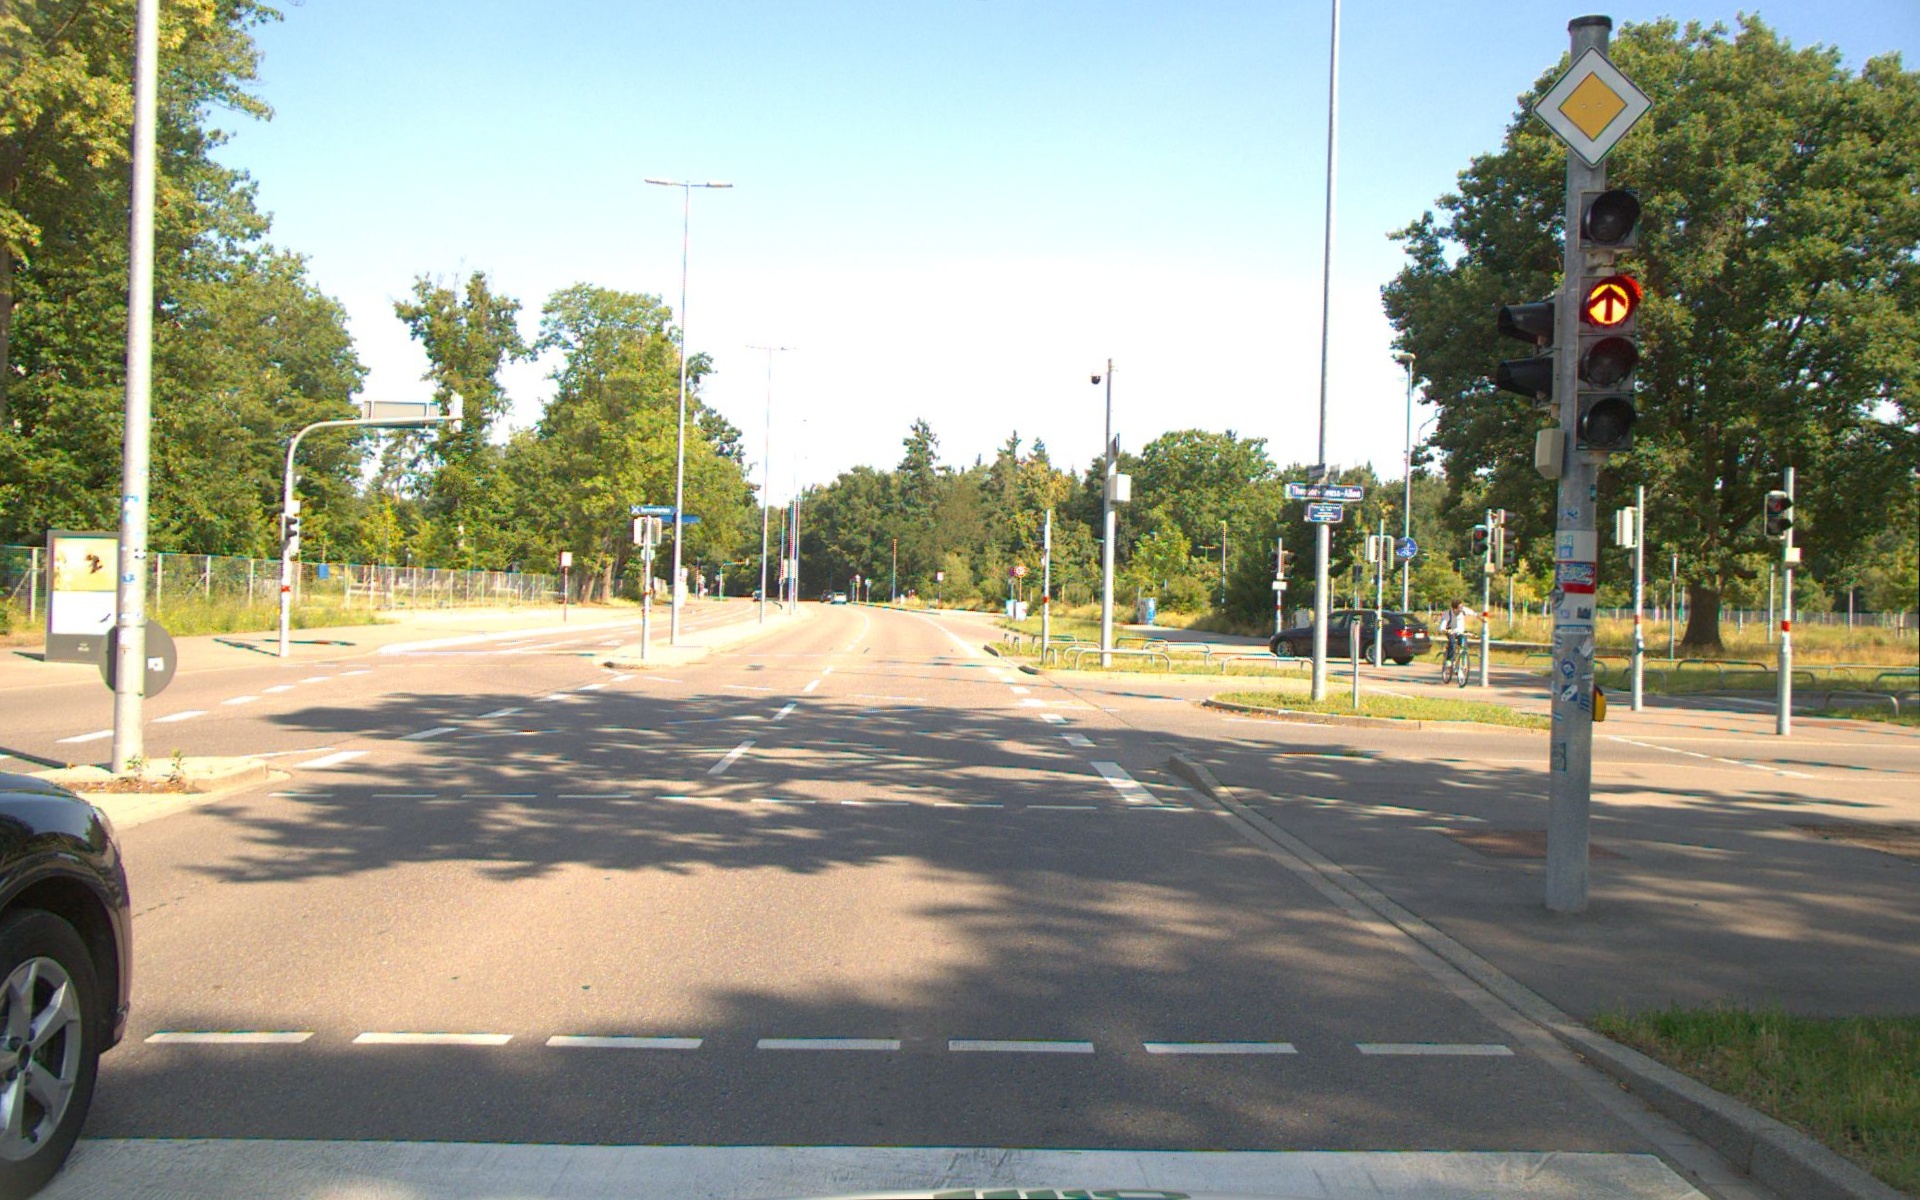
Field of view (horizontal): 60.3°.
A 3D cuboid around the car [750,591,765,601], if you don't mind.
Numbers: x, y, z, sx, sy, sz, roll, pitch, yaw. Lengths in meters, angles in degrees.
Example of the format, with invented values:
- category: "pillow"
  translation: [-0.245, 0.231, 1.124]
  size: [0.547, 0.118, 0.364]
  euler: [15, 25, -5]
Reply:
- category: "car"
  translation: [-29.279, -0.528, 239.212]
  size: [1.779, 1.412, 4.150]
  euler: [-1, 0, -11]

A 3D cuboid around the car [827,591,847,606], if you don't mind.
- category: "car"
  translation: [-15.708, -0.201, 211.041]
  size: [1.958, 1.780, 3.989]
  euler: [1, 0, -11]

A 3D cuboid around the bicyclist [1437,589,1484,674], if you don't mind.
- category: "bicyclist"
  translation: [9.994, 0.616, 33.056]
  size: [0.708, 1.667, 1.059]
  euler: [1, 0, 7]

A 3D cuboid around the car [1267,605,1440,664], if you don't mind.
- category: "car"
  translation: [10.800, 0.911, 45.544]
  size: [4.214, 1.445, 1.936]
  euler: [2, 0, 41]

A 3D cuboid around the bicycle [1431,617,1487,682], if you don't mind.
- category: "bicycle"
  translation: [9.997, 0.966, 33.190]
  size: [0.708, 1.220, 2.102]
  euler: [1, 0, 7]

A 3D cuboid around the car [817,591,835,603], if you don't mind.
- category: "car"
  translation: [-18.422, -0.413, 226.794]
  size: [1.958, 1.624, 3.989]
  euler: [1, 0, -12]

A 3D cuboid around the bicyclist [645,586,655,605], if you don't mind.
- category: "bicyclist"
  translation: [-24.464, -0.379, 130.663]
  size: [0.647, 1.493, 1.056]
  euler: [3, 0, -6]

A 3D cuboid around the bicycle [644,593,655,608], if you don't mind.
- category: "bicycle"
  translation: [-24.501, 0.030, 130.626]
  size: [0.647, 1.155, 1.876]
  euler: [3, 0, -6]

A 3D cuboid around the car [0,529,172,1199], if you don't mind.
- category: "car"
  translation: [-2.948, 0.630, 2.412]
  size: [1.653, 1.571, 4.148]
  euler: [0, 0, -1]
